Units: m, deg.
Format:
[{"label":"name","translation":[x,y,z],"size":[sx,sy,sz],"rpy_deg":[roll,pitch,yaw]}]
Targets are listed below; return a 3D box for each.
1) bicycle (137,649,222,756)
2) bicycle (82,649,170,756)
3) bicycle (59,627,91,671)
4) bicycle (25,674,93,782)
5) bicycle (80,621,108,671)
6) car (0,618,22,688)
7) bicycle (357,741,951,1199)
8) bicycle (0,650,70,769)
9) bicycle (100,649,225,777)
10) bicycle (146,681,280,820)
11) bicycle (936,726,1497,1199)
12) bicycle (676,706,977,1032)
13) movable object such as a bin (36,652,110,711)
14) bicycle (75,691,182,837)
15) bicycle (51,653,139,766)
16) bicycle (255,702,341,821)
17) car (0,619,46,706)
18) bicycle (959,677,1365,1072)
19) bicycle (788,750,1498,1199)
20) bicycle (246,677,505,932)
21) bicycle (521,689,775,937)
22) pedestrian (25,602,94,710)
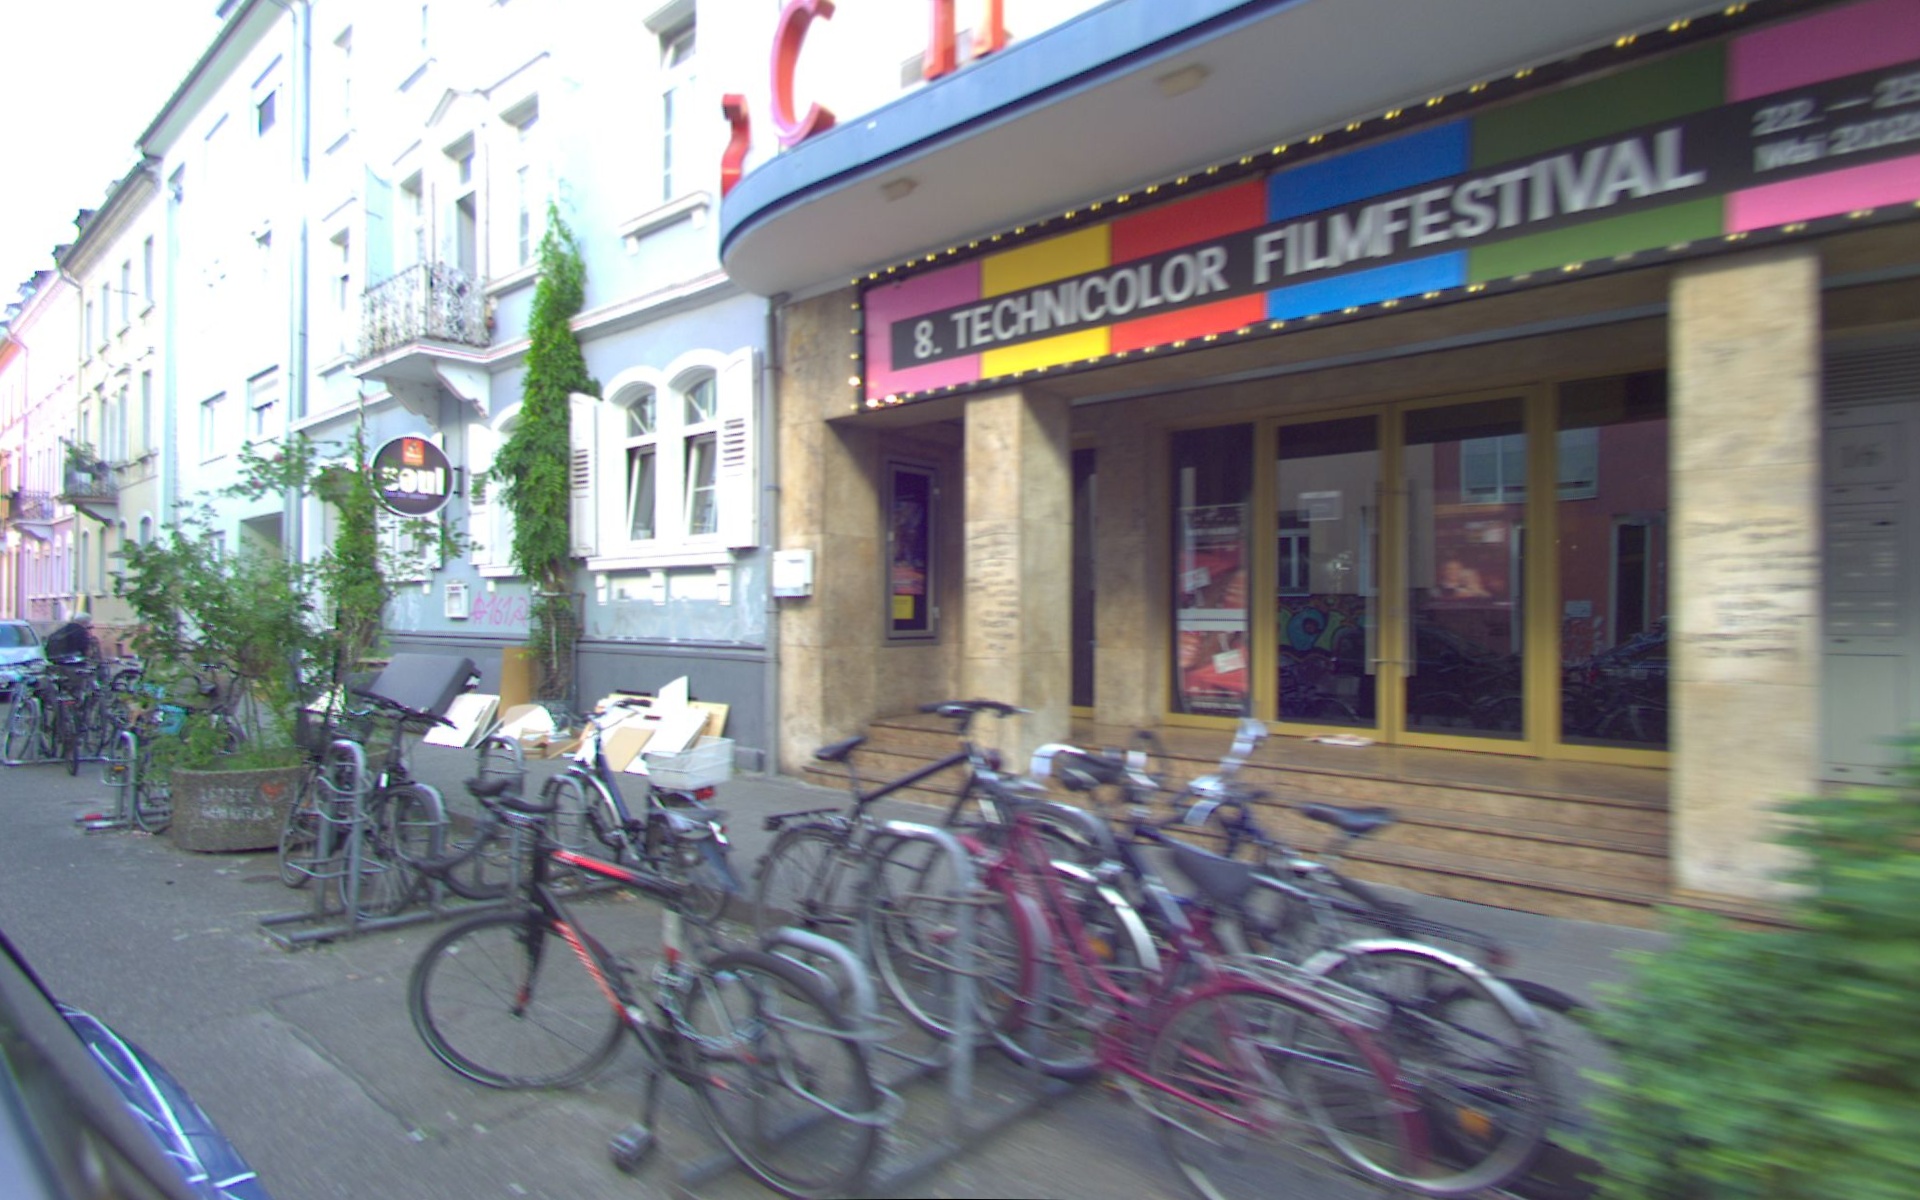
[{"label":"bicycle","translation":[-9.036,1.147,11.696],"size":[1.696,1.114,0.439],"rpy_deg":[-1,-1,40]},{"label":"bicycle","translation":[-9.711,1.152,11.759],"size":[1.872,1.114,0.439],"rpy_deg":[-1,-1,39]},{"label":"bicycle","translation":[-23.180,1.281,26.512],"size":[1.493,1.110,0.413],"rpy_deg":[-1,-1,40]},{"label":"bicycle","translation":[-8.692,1.204,9.754],"size":[1.289,0.923,0.318],"rpy_deg":[-1,-2,41]},{"label":"bicycle","translation":[-22.978,1.208,26.845],"size":[1.493,1.269,0.315],"rpy_deg":[-1,-1,40]},{"label":"car","translation":[-21.990,1.113,22.060],"size":[3.997,1.463,1.771],"rpy_deg":[-1,-2,40]},{"label":"bicycle","translation":[-0.910,0.996,2.853],"size":[1.740,1.055,0.458],"rpy_deg":[-1,0,25]},{"label":"bicycle","translation":[-9.950,1.117,10.740],"size":[1.828,1.114,0.494],"rpy_deg":[-1,-1,40]},{"label":"bicycle","translation":[-8.112,1.109,10.299],"size":[0.919,1.184,0.805],"rpy_deg":[-1,-2,38]},{"label":"bicycle","translation":[-6.138,1.183,8.293],"size":[1.571,0.951,0.548],"rpy_deg":[-1,-2,41]},{"label":"bicycle","translation":[0.706,1.059,3.162],"size":[1.667,1.182,0.395],"rpy_deg":[-1,0,37]},{"label":"bicycle","translation":[-0.586,1.016,4.170],"size":[1.316,1.055,0.413],"rpy_deg":[-1,0,37]},{"label":"movable object such as a bin","translation":[-14.868,1.355,16.988],"size":[0.832,0.904,0.587],"rpy_deg":[0,0,-30]},{"label":"bicycle","translation":[-6.261,1.188,7.604],"size":[1.392,0.923,0.386],"rpy_deg":[-1,-2,41]},{"label":"bicycle","translation":[-9.602,1.167,11.207],"size":[1.930,1.114,0.439],"rpy_deg":[-1,-1,40]},{"label":"bicycle","translation":[-5.428,1.287,8.277],"size":[1.299,0.824,0.253],"rpy_deg":[-1,-1,41]},{"label":"car","translation":[-17.916,1.082,18.368],"size":[4.034,1.466,1.662],"rpy_deg":[-1,-3,44]},{"label":"bicycle","translation":[0.697,0.918,3.805],"size":[1.487,1.182,0.336],"rpy_deg":[-1,0,37]},{"label":"bicycle","translation":[0.353,1.026,2.699],"size":[1.862,1.055,0.438],"rpy_deg":[-1,0,37]},{"label":"bicycle","translation":[-3.251,1.022,5.551],"size":[1.878,1.102,0.541],"rpy_deg":[-1,0,37]},{"label":"bicycle","translation":[-1.669,1.044,5.341],"size":[1.407,1.053,0.568],"rpy_deg":[-1,-1,37]},{"label":"pedestrian","translation":[-14.698,0.889,16.538],"size":[0.703,1.720,0.674],"rpy_deg":[0,0,-28]}]
